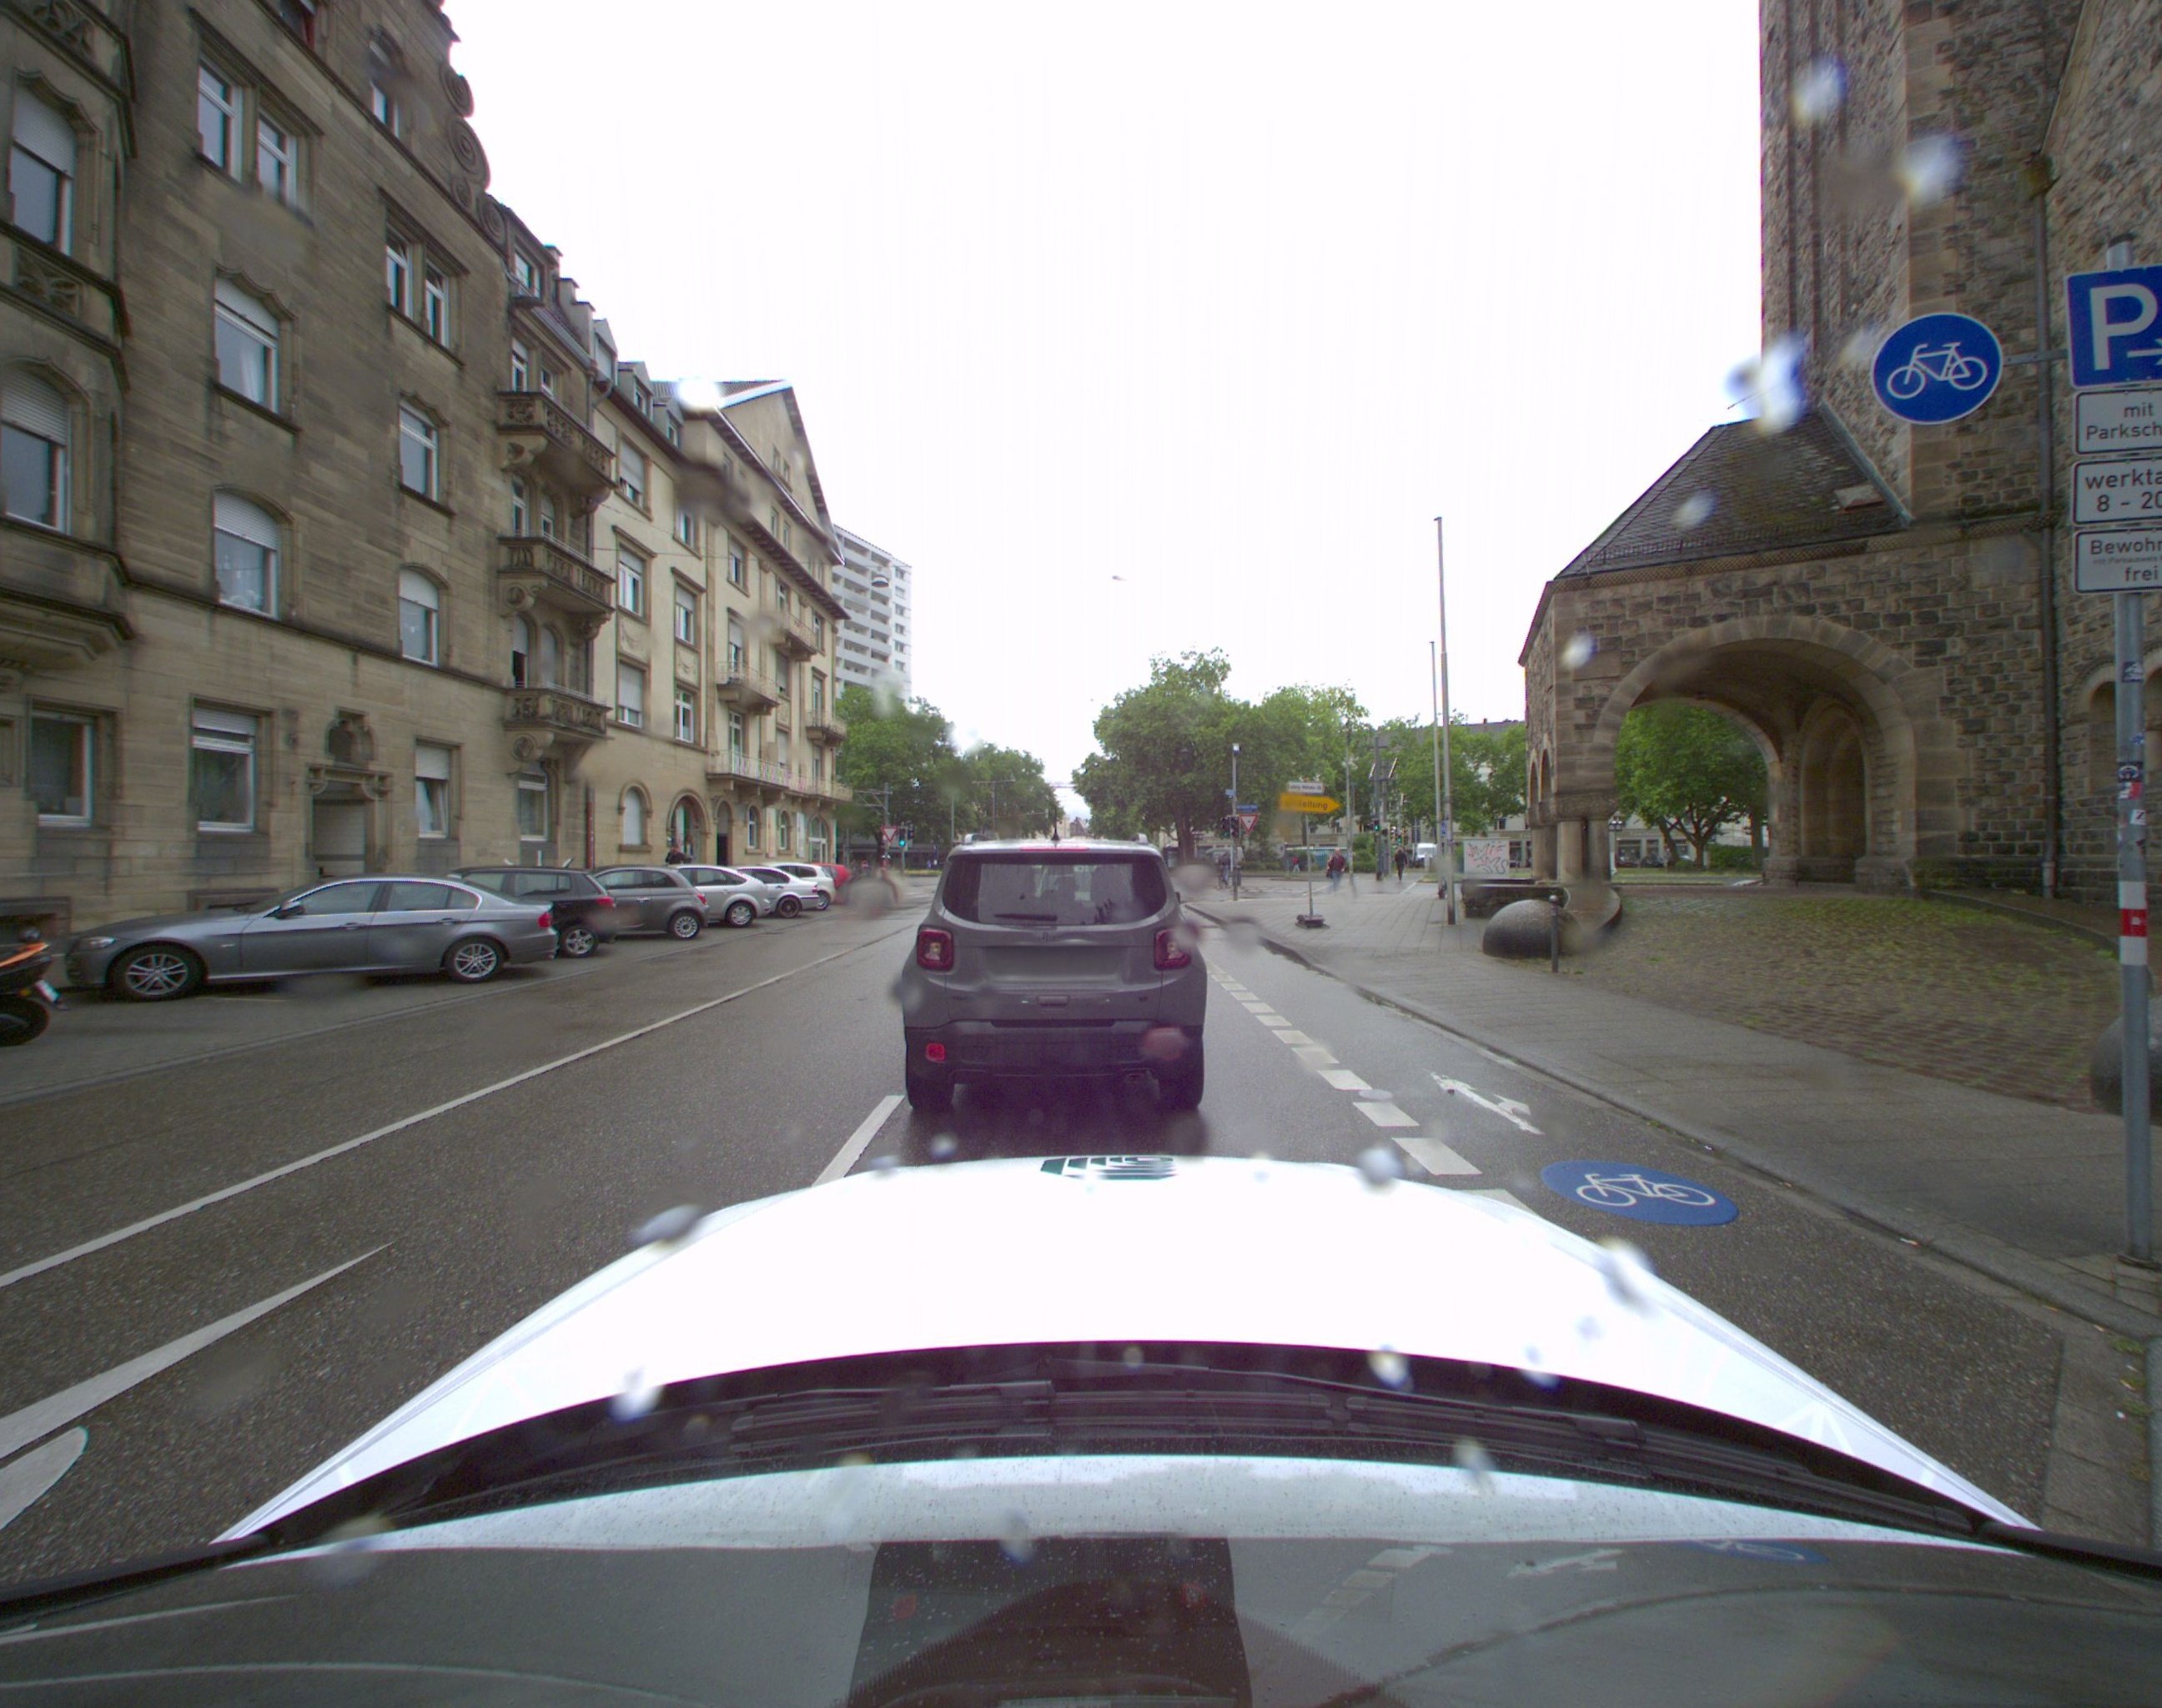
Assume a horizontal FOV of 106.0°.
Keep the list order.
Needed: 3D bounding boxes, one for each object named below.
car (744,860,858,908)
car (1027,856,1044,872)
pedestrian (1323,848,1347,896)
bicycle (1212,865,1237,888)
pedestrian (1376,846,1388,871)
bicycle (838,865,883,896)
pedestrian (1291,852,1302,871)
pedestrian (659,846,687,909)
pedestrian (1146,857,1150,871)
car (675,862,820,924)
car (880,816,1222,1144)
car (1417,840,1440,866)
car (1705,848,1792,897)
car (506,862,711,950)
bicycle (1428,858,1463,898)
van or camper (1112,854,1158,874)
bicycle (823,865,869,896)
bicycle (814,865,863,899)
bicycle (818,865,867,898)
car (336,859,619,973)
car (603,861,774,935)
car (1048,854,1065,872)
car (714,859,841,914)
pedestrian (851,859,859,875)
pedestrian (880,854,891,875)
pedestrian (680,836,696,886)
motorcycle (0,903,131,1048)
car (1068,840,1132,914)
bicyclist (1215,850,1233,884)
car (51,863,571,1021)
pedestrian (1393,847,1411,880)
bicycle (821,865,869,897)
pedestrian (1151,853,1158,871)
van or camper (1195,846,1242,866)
[{"bbox_3d":[-9.768,1.004,28.470,3.419,1.558,1.686,-1,0,-38],"label":"car"},{"bbox_3d":[-4.977,1.081,88.707,1.810,1.670,3.916,-1,0,-3],"label":"car"},{"bbox_3d":[9.461,0.653,30.344,0.780,1.759,0.949,-2,-1,16],"label":"pedestrian"},{"bbox_3d":[7.066,1.070,40.011,0.686,1.021,2.672,-2,0,21],"label":"bicycle"},{"bbox_3d":[24.222,0.366,65.503,0.798,2.014,0.593,-1,-1,28],"label":"pedestrian"},{"bbox_3d":[-9.570,1.145,35.439,1.758,1.266,0.608,-1,-1,-1],"label":"bicycle"},{"bbox_3d":[18.170,0.623,68.653,0.667,1.554,0.766,-1,-2,29],"label":"pedestrian"},{"bbox_3d":[-13.347,0.759,26.668,0.565,2.014,0.655,-1,-1,1],"label":"pedestrian"},{"bbox_3d":[8.330,1.269,101.903,0.456,1.704,0.424,-1,-1,2],"label":"pedestrian"},{"bbox_3d":[-9.285,1.020,22.730,3.419,1.558,1.686,-1,0,-38],"label":"car"},{"bbox_3d":[-0.135,0.672,6.248,1.769,1.687,3.848,-2,0,1],"label":"car"},{"bbox_3d":[35.503,-0.124,83.169,1.889,2.555,4.815,-1,0,25],"label":"car"},{"bbox_3d":[21.447,0.550,26.293,1.389,1.479,3.239,-1,0,25],"label":"car"},{"bbox_3d":[-9.538,0.958,16.519,3.419,1.558,1.634,-1,0,-38],"label":"car"},{"bbox_3d":[10.991,0.689,24.619,0.327,1.154,2.079,-1,0,7],"label":"bicycle"},{"bbox_3d":[8.201,1.504,124.725,6.466,2.912,2.509,-1,0,26],"label":"van or camper"},{"bbox_3d":[-9.966,1.104,34.567,1.758,1.266,0.608,-1,-1,-1],"label":"bicycle"},{"bbox_3d":[-9.595,1.104,32.300,1.758,1.266,0.522,-1,-1,-1],"label":"bicycle"},{"bbox_3d":[-9.598,1.098,32.847,1.804,1.266,0.498,-1,-1,-1],"label":"bicycle"},{"bbox_3d":[-9.781,0.900,13.435,3.571,1.598,1.587,-1,0,-38],"label":"car"},{"bbox_3d":[-9.390,0.985,19.547,3.419,1.558,1.686,-1,0,-38],"label":"car"},{"bbox_3d":[-2.569,0.924,84.157,1.717,1.739,3.726,-1,0,-2],"label":"car"},{"bbox_3d":[-9.511,0.964,25.595,3.419,1.558,1.686,-1,0,-38],"label":"car"},{"bbox_3d":[-22.906,1.306,82.438,0.438,1.530,0.647,-1,-1,27],"label":"pedestrian"},{"bbox_3d":[-17.280,0.939,71.960,0.614,1.826,0.697,-1,-1,15],"label":"pedestrian"},{"bbox_3d":[-14.434,0.261,29.913,0.365,1.823,0.347,-1,-1,-1],"label":"pedestrian"},{"bbox_3d":[-9.408,1.005,6.731,1.880,1.162,0.627,2,-2,-36],"label":"motorcycle"},{"bbox_3d":[0.576,0.643,24.593,1.764,2.013,4.001,-1,0,1],"label":"car"},{"bbox_3d":[7.016,0.640,39.965,0.681,1.617,0.888,-2,0,21],"label":"bicyclist"},{"bbox_3d":[-9.411,0.929,10.505,4.573,1.545,1.668,-1,0,-42],"label":"car"},{"bbox_3d":[16.340,0.489,41.479,0.775,1.645,0.659,-2,-1,25],"label":"pedestrian"},{"bbox_3d":[-9.709,1.111,33.533,1.804,1.266,0.498,-1,-1,-1],"label":"bicycle"},{"bbox_3d":[8.386,0.909,92.593,0.646,2.014,0.484,-1,-1,14],"label":"pedestrian"},{"bbox_3d":[15.979,0.269,94.568,5.234,2.315,2.093,0,0,5],"label":"van or camper"}]
